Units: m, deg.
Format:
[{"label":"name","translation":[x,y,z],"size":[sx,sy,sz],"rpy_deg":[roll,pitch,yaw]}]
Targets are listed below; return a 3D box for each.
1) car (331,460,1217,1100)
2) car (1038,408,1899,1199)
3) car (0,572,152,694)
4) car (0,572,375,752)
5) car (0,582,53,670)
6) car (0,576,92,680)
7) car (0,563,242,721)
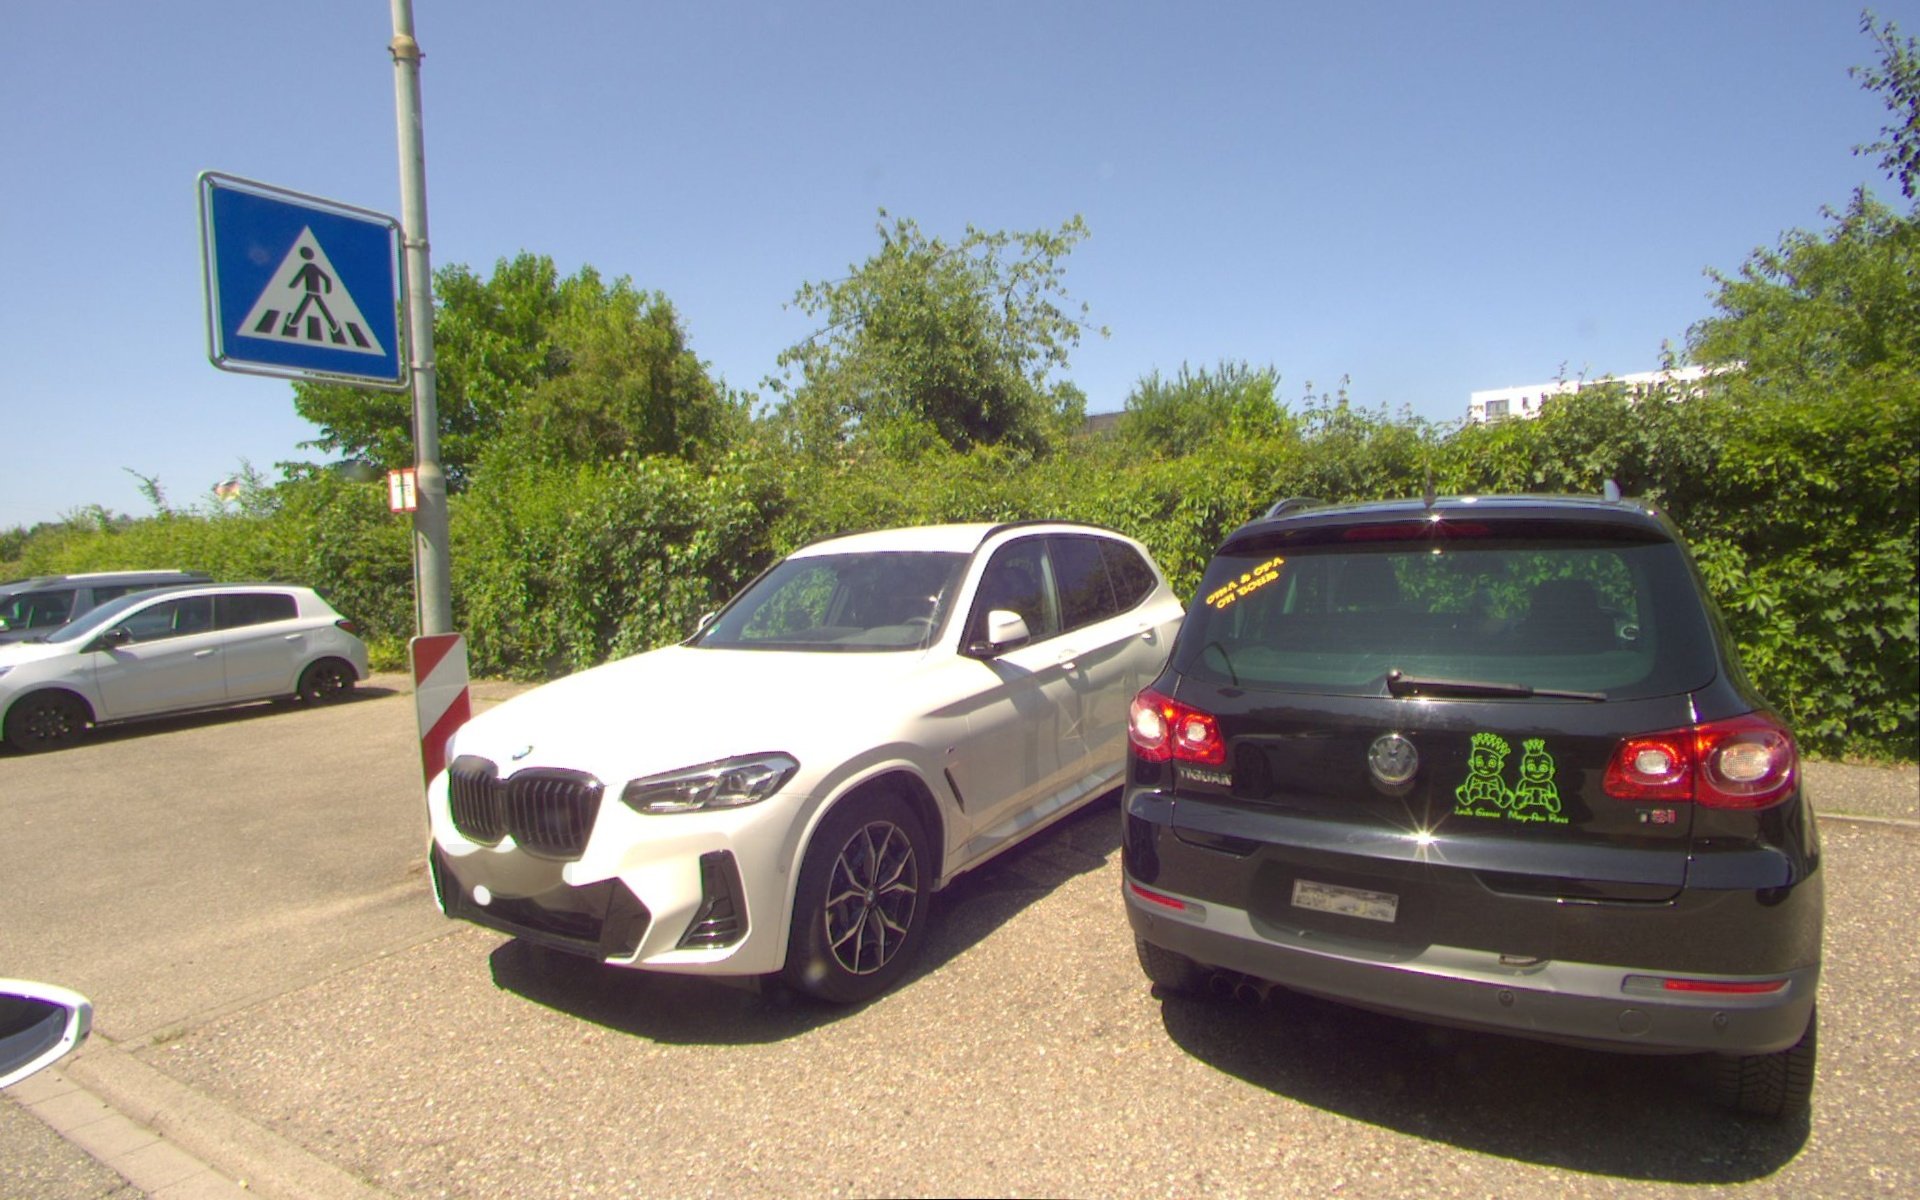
[{"label":"car","translation":[-0.323,0.399,5.084],"size":[1.825,1.753,4.440],"rpy_deg":[-1,3,33]},{"label":"car","translation":[2.002,0.413,3.995],"size":[1.741,1.709,3.962],"rpy_deg":[0,3,32]},{"label":"car","translation":[-13.648,0.501,13.838],"size":[1.515,1.549,3.446],"rpy_deg":[0,5,28]},{"label":"car","translation":[-8.716,0.547,10.868],"size":[1.588,1.471,3.673],"rpy_deg":[1,5,36]},{"label":"car","translation":[-18.240,0.515,17.390],"size":[1.566,1.525,3.374],"rpy_deg":[1,4,36]},{"label":"car","translation":[-16.114,0.538,15.200],"size":[1.835,1.545,3.955],"rpy_deg":[0,5,27]},{"label":"car","translation":[-11.345,0.500,12.077],"size":[1.637,1.664,3.953],"rpy_deg":[0,5,27]}]
